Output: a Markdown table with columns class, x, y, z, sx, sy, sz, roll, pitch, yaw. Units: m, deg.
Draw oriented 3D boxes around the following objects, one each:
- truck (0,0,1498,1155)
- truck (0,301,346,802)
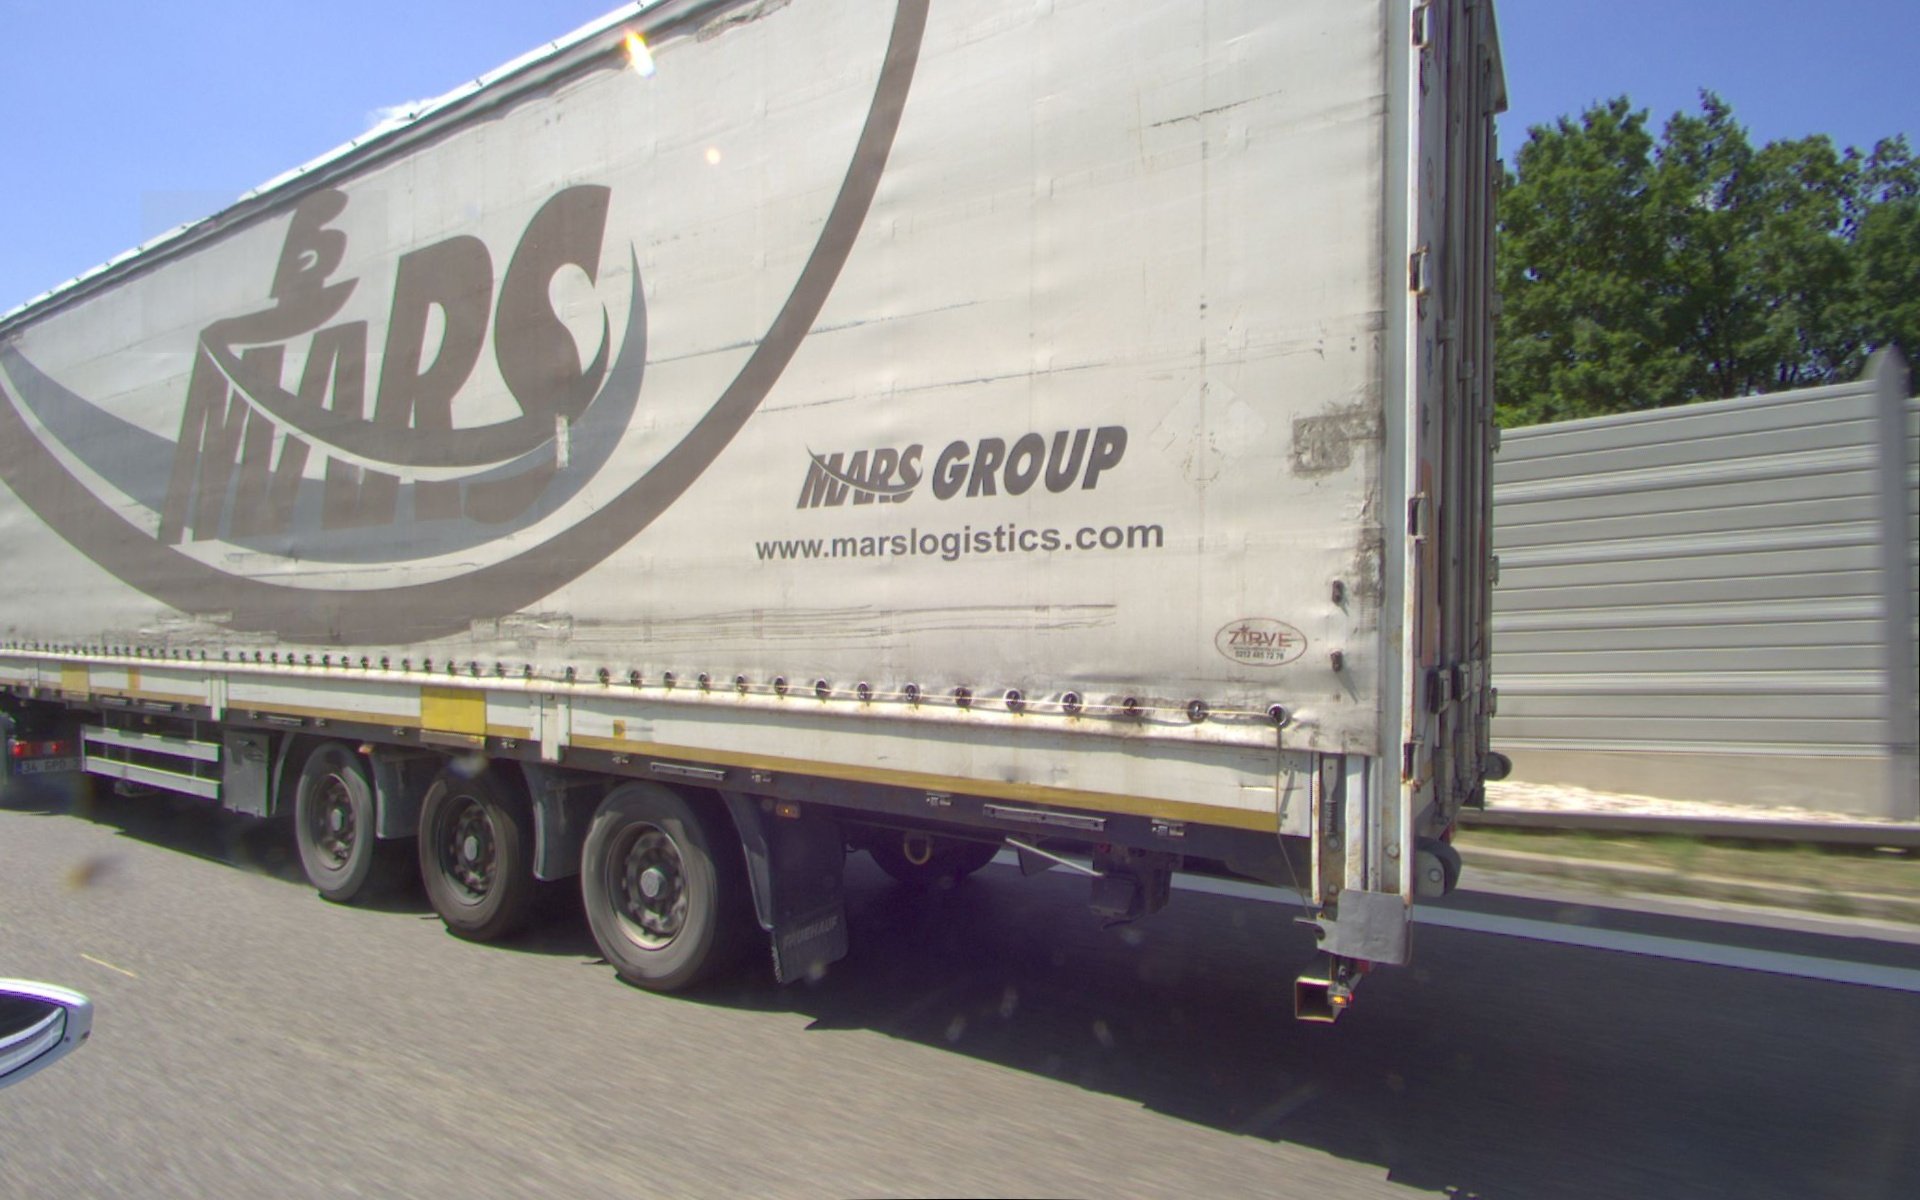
| class | x | y | z | sx | sy | sz | roll | pitch | yaw |
| --- | --- | --- | --- | --- | --- | --- | --- | --- | --- |
| truck | -3.905 | -0.496 | 7.255 | 13.549 | 4.119 | 2.721 | -2 | -2 | 33 |
| truck | -9.558 | -0.285 | 10.916 | 5.673 | 4.119 | 2.714 | -2 | -2 | 33 |
